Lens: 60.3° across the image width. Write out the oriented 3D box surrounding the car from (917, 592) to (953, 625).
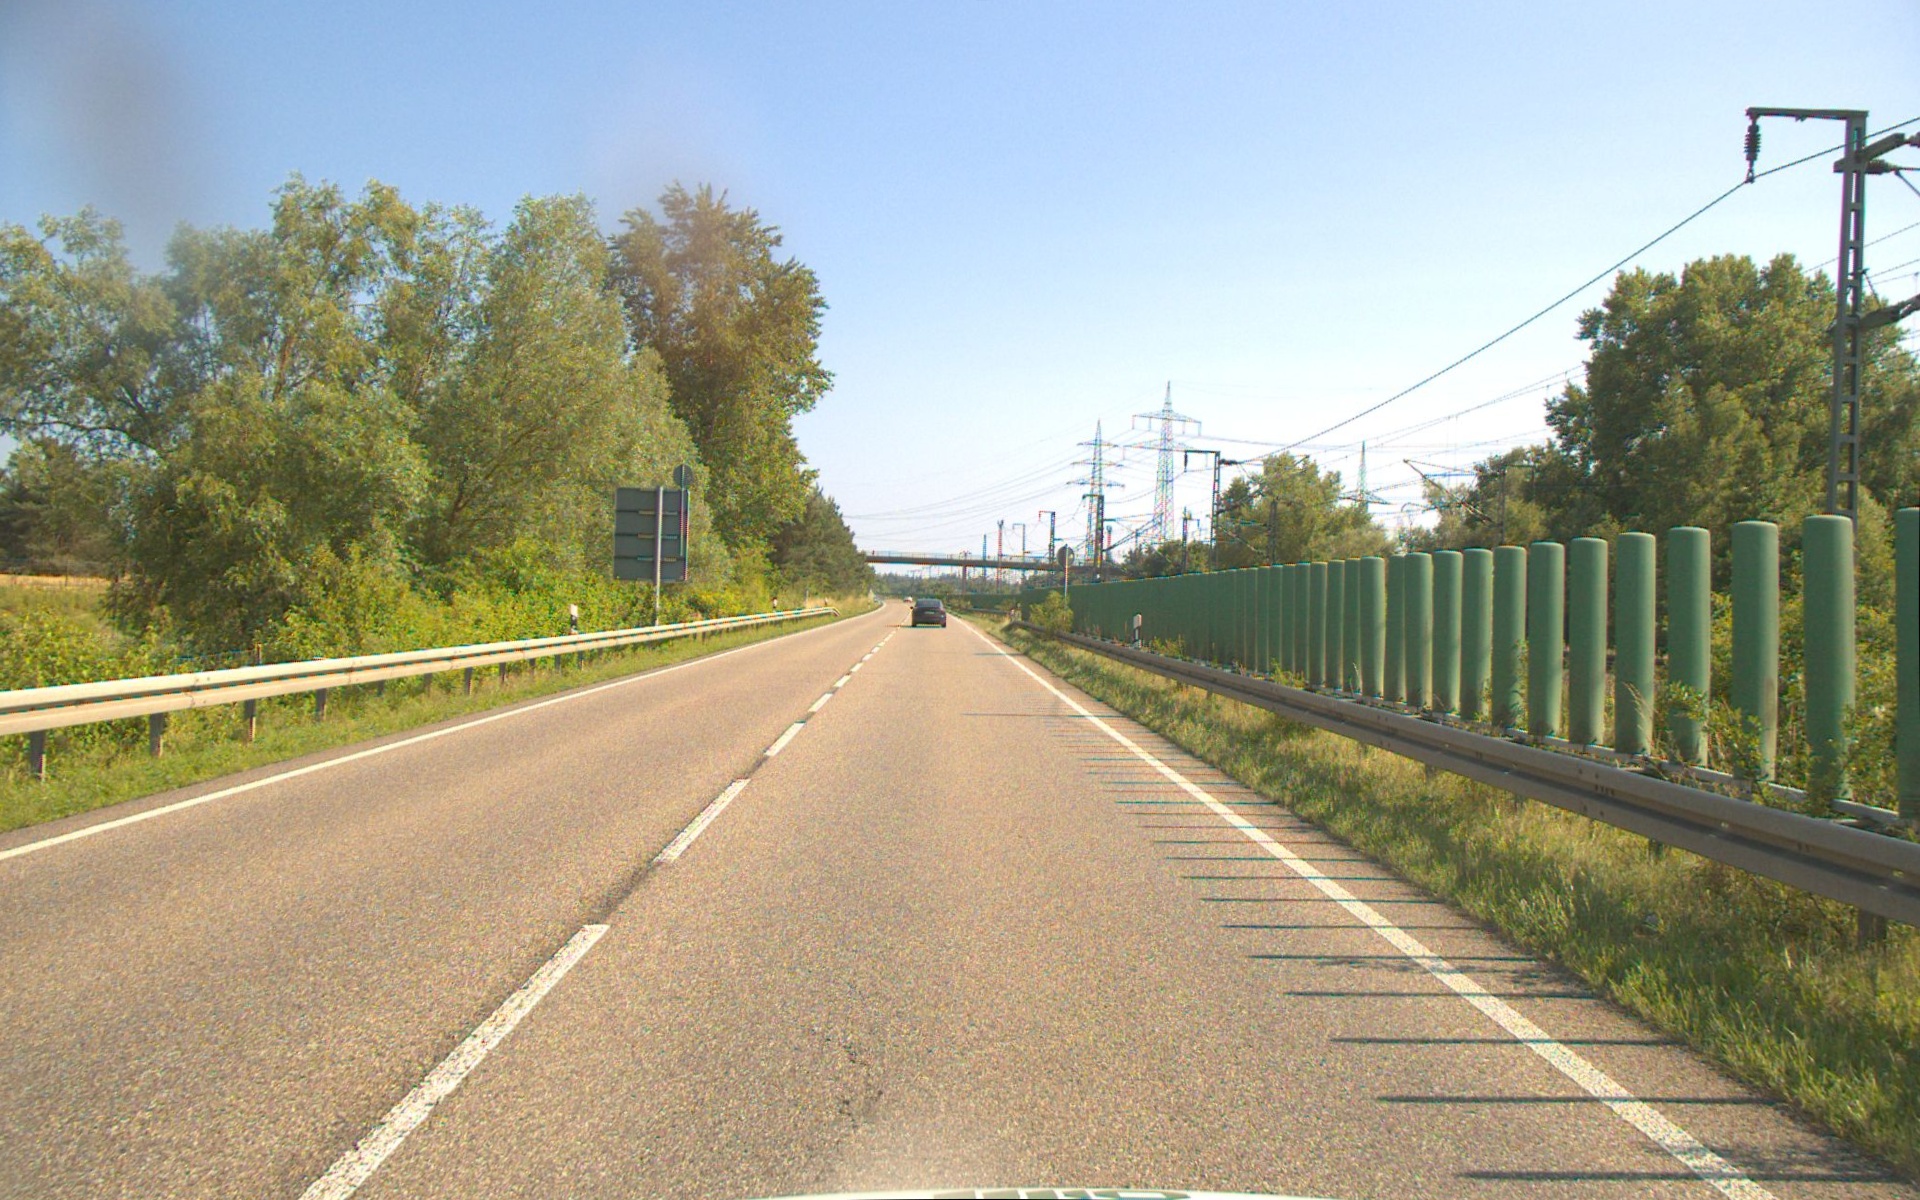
[{"bbox_3d":[-1.315,0.442,87.063,1.821,1.670,3.999,1,0,-2],"label":"car"}]
